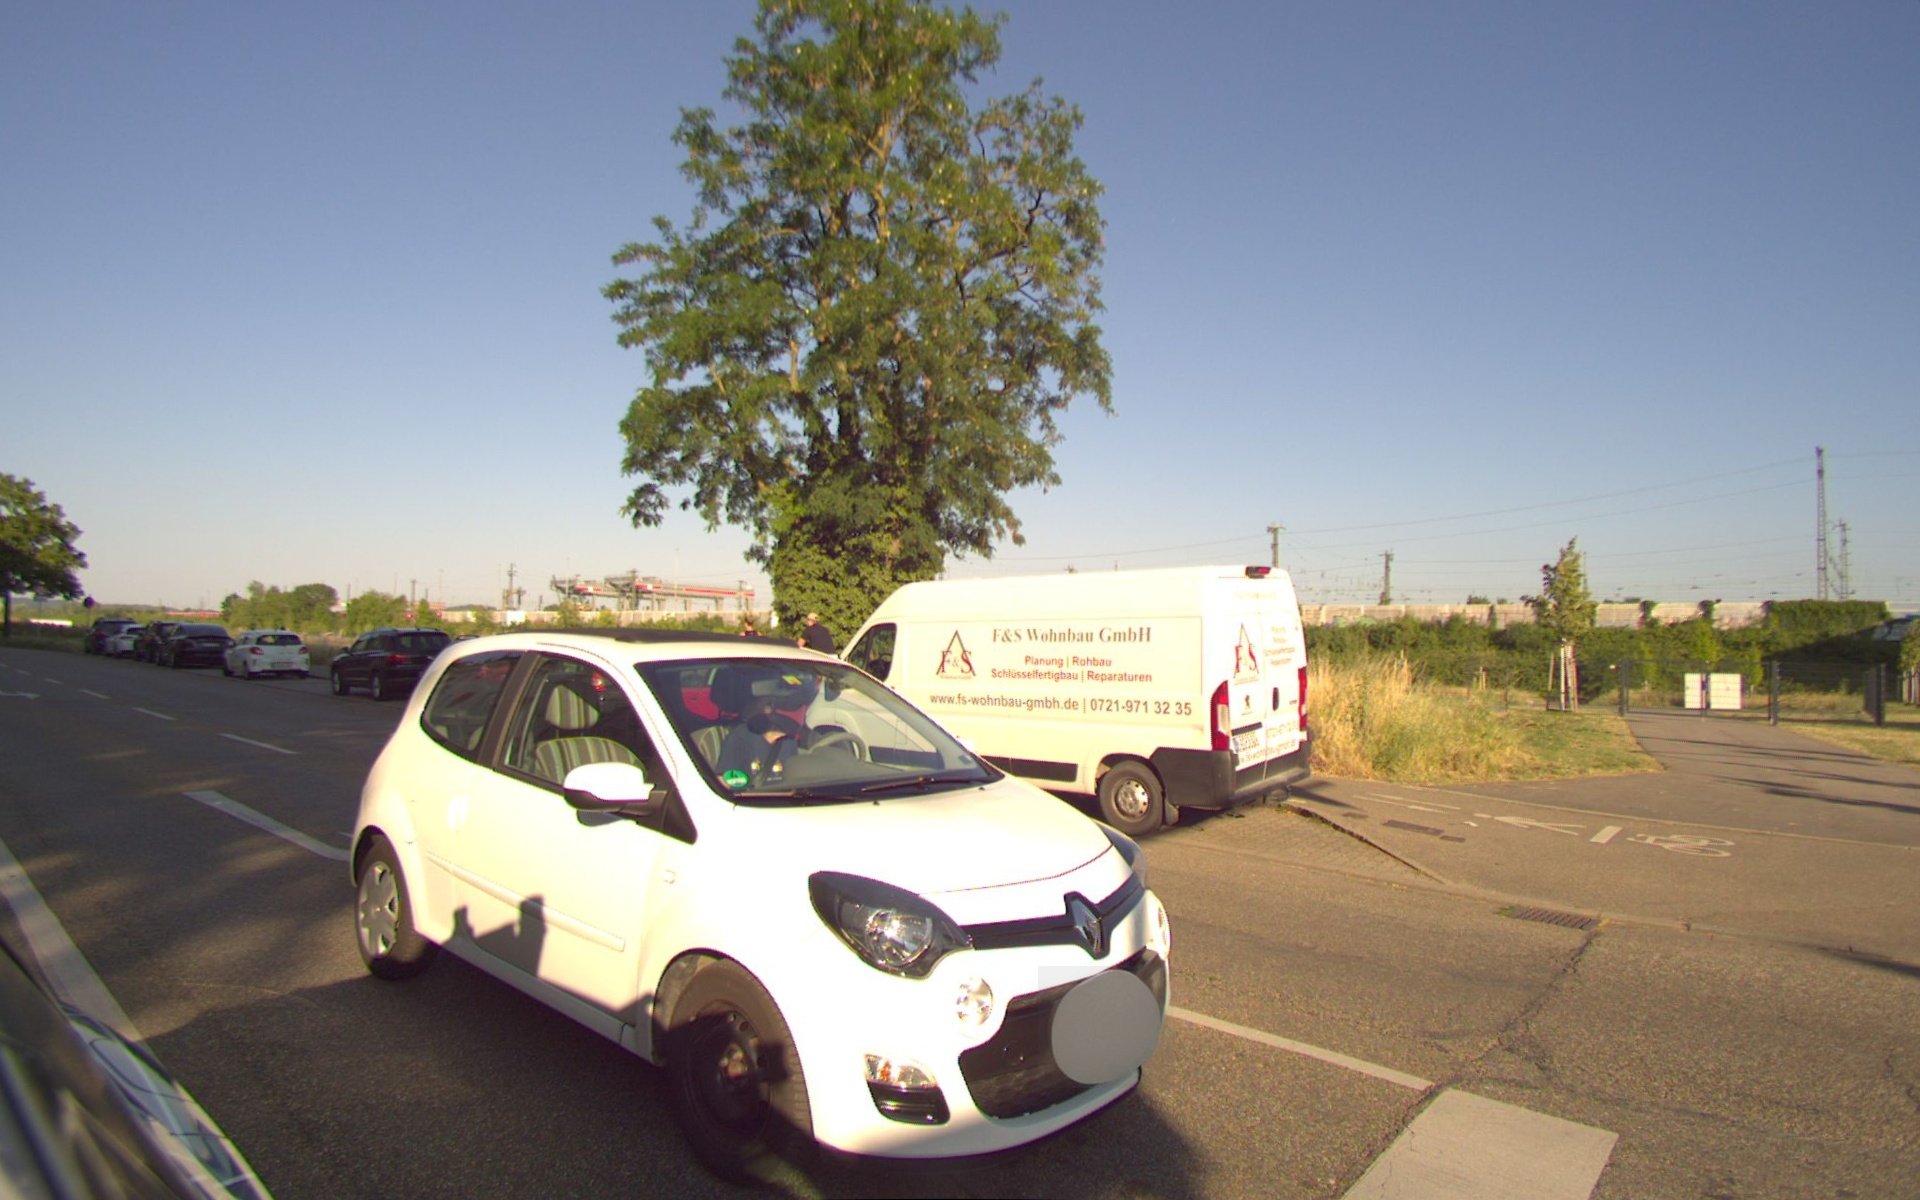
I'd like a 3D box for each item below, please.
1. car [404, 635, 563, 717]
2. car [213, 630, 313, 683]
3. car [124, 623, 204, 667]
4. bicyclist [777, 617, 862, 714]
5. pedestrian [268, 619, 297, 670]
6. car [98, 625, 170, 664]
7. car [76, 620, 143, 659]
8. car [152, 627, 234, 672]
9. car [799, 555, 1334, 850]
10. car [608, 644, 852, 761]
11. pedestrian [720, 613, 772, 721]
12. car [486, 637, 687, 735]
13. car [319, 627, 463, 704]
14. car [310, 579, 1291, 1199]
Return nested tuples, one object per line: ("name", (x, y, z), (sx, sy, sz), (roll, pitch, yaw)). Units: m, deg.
("car", (-10.021, 1.543, 21.192), (3.577, 1.541, 1.642), (-1, -4, 40))
("car", (-21.565, 1.729, 31.286), (3.582, 1.538, 1.684), (-1, -4, 42))
("car", (-32.390, 1.810, 41.143), (4.219, 1.650, 1.799), (-1, -4, 42))
("bicyclist", (-2.428, 1.116, 17.460), (1.144, 1.609, 0.856), (-1, -4, 36))
("pedestrian", (-27.177, 1.792, 40.586), (0.710, 2.029, 0.697), (-1, -4, 42))
("car", (-36.477, 1.950, 44.654), (4.219, 1.586, 1.799), (-1, -4, 42))
("car", (-40.848, 1.894, 48.601), (4.219, 1.789, 1.866), (-1, -4, 43))
("car", (-28.241, 1.813, 37.222), (1.798, 1.538, 4.292), (5, -4, -45))
("car", (0.922, 0.890, 11.078), (5.556, 2.455, 2.207), (-1, -1, 40))
("car", (-3.555, 1.470, 15.391), (3.692, 1.498, 1.723), (-1, -4, 40))
("pedestrian", (-4.138, 1.286, 19.570), (0.729, 2.029, 0.608), (-1, -4, 39))
("car", (-6.805, 1.492, 18.313), (3.814, 1.541, 1.723), (-1, -4, 40))
("car", (-13.603, 1.522, 24.110), (4.003, 1.672, 1.642), (-1, -4, 40))
("car", (-0.875, 0.770, 3.938), (3.772, 1.480, 1.683), (-1, -4, 40))
